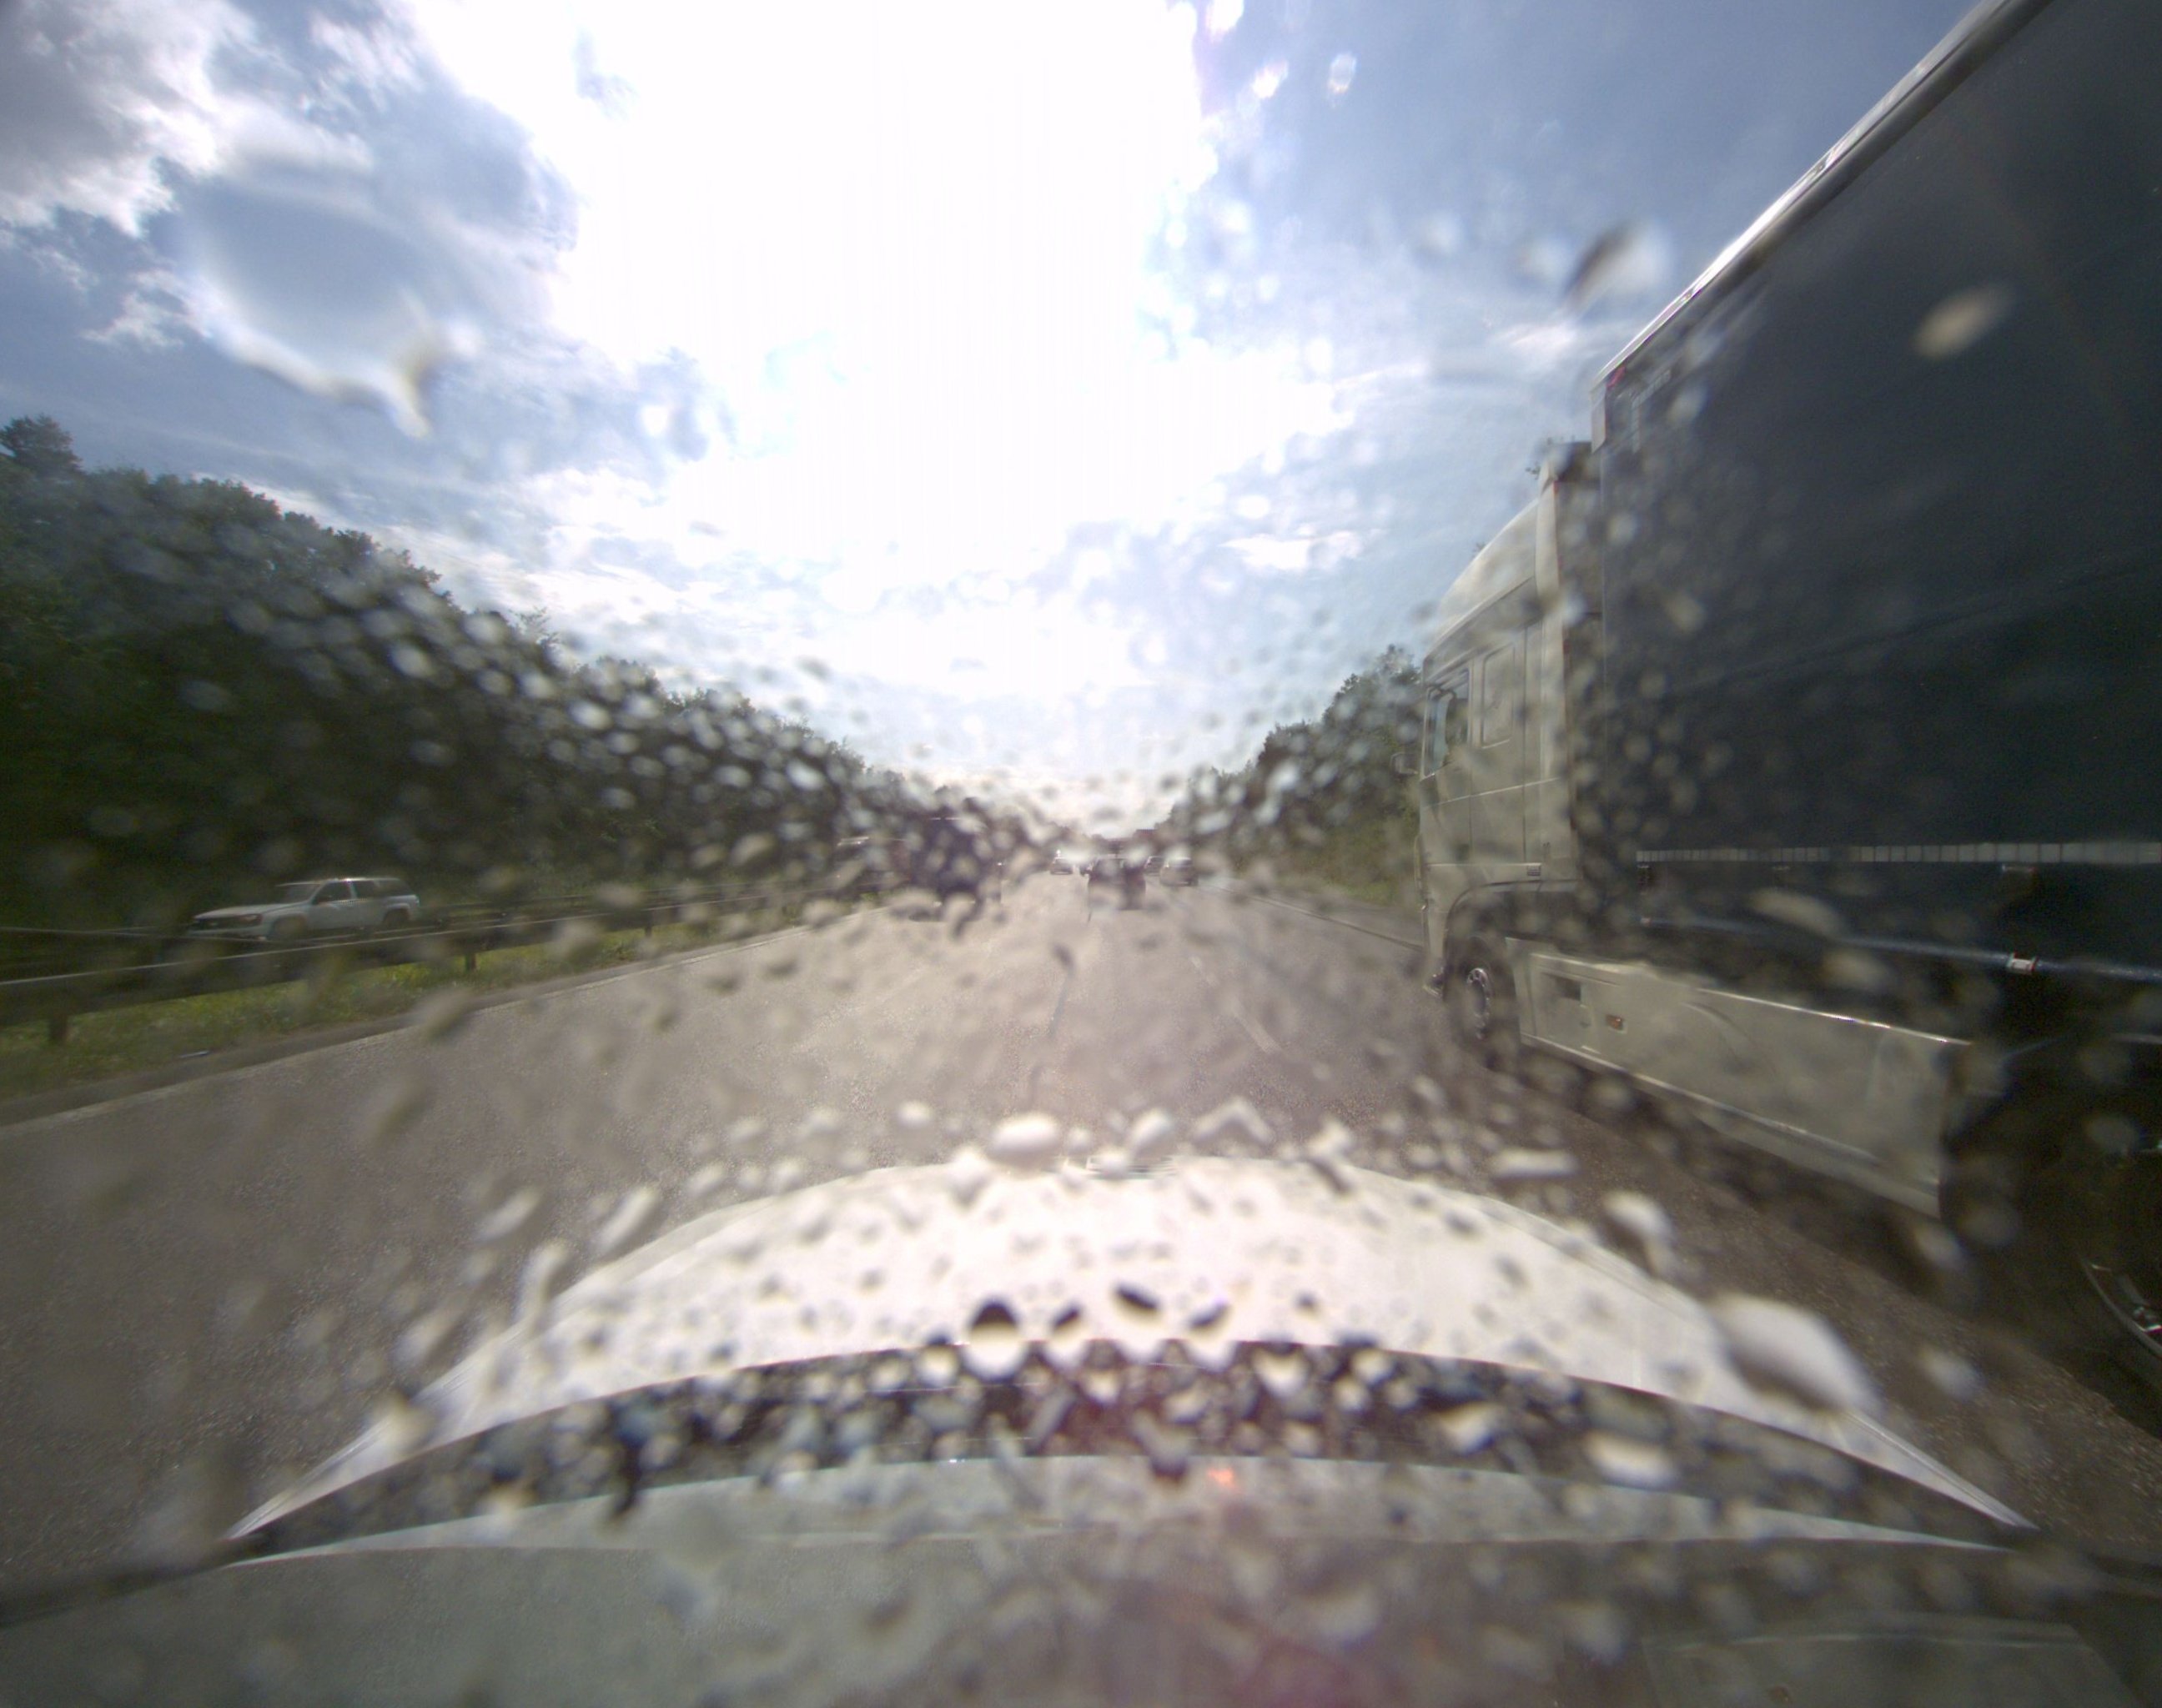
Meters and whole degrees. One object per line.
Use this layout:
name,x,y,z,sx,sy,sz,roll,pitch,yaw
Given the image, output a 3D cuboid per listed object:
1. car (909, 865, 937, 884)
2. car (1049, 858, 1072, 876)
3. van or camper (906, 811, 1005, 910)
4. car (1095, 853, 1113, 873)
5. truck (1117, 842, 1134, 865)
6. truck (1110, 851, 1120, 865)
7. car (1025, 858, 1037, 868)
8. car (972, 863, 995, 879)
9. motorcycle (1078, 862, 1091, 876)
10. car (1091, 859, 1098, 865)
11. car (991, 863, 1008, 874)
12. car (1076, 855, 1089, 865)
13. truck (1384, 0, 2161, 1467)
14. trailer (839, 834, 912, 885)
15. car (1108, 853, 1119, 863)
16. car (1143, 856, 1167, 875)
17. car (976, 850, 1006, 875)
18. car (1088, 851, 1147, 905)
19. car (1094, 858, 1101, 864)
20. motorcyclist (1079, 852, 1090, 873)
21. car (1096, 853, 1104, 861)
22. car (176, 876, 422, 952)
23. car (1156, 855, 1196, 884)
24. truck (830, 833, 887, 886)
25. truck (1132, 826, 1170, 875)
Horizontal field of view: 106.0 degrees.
car,-14.744,1.925,76.259,1.693,1.663,4.237,-1,0,1
car,-1.812,1.139,72.438,1.848,1.551,3.485,-1,0,1
van or camper,-3.639,0.196,24.658,1.986,2.669,5.386,-1,0,2
car,1.999,0.767,70.815,1.526,1.746,3.486,-1,0,1
truck,9.003,-0.105,163.884,3.242,4.479,12.431,-1,0,3
truck,7.407,0.879,178.136,2.184,2.875,4.851,-1,0,1
car,-8.419,1.460,137.597,1.725,1.663,4.237,-1,0,1
car,-10.647,1.860,89.084,1.831,1.663,4.442,-1,0,1
motorcycle,0.278,1.164,62.899,0.887,1.000,2.897,-1,0,2
car,2.792,1.665,172.056,1.479,1.390,3.199,-1,0,1
car,-13.099,2.378,131.130,2.009,1.663,4.700,-1,0,1
car,0.268,0.856,118.596,1.745,1.457,3.391,-1,0,1
truck,3.928,-0.535,3.683,2.597,3.996,7.293,-1,0,2
trailer,-19.080,0.518,76.865,2.852,4.373,14.097,-1,0,2
car,4.812,0.600,120.749,1.547,1.383,3.211,-1,0,1
car,5.795,0.876,64.106,1.674,1.442,3.906,-1,0,1
car,-9.135,0.894,83.067,2.175,2.452,5.750,-1,0,2
car,1.117,0.726,25.634,1.711,1.568,3.486,-1,0,1
car,3.904,1.704,195.193,1.543,1.267,3.485,-1,0,1
motorcyclist,0.288,0.662,62.859,0.799,1.633,1.013,-1,-1,1
car,5.137,0.821,216.465,1.986,2.013,4.002,-2,0,2
car,-20.000,1.457,21.196,1.822,1.663,4.632,-1,0,1
car,4.919,0.780,42.477,1.686,1.425,4.221,-1,0,1
truck,-19.241,0.480,70.838,2.852,4.373,6.870,-1,0,1
truck,7.346,-0.305,88.315,3.634,4.720,16.793,-1,0,3
